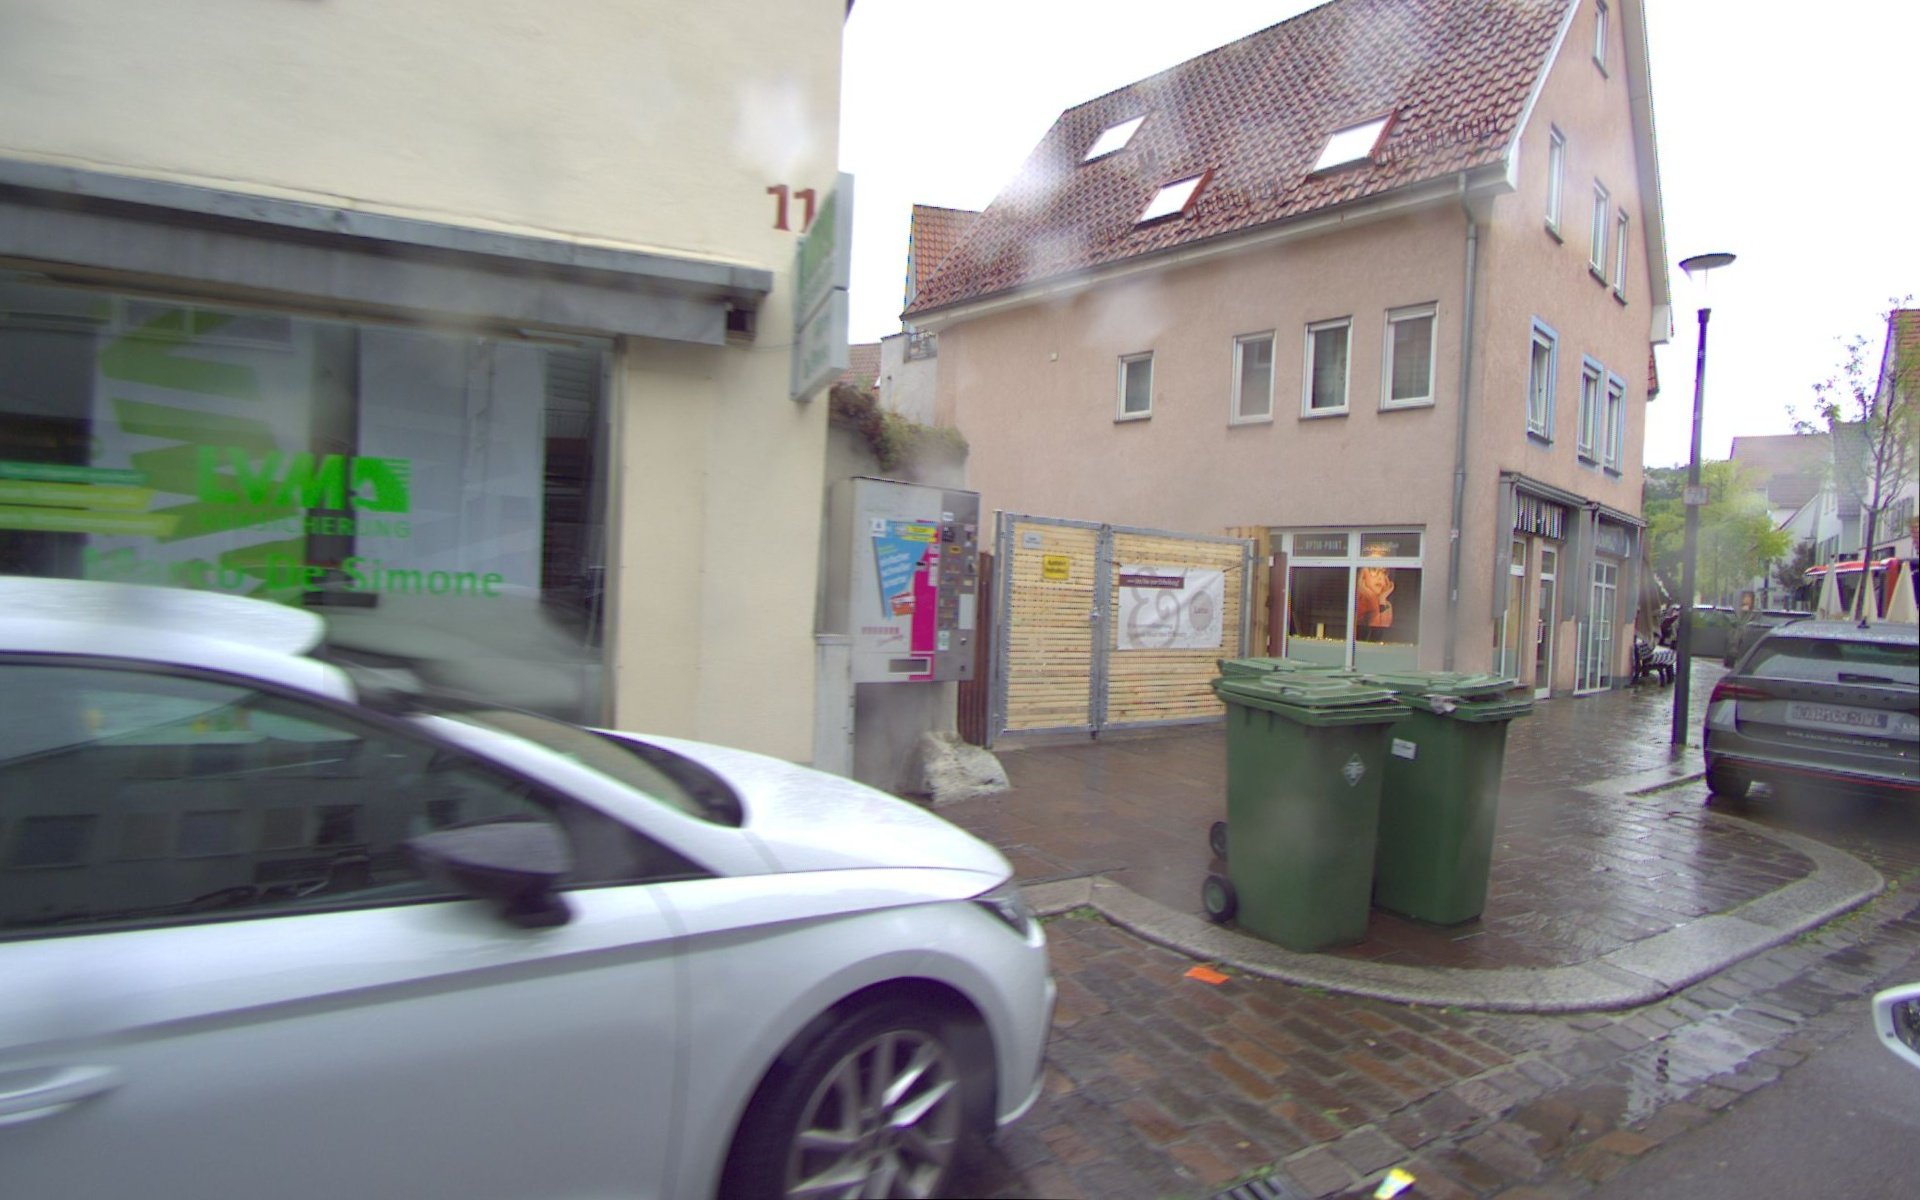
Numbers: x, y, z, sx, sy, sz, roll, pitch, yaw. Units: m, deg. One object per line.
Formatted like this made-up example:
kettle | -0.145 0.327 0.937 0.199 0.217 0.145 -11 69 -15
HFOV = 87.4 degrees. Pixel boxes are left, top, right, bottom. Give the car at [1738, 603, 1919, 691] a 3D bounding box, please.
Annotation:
car | 18.058 0.883 21.020 1.773 1.452 4.622 4 3 26

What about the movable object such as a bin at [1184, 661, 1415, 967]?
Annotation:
movable object such as a bin | 1.422 0.846 4.266 0.540 1.101 0.688 2 2 -32

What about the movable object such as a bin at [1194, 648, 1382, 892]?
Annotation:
movable object such as a bin | 1.691 0.829 5.210 0.617 1.124 0.655 2 0 -32

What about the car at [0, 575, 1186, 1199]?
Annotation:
car | -1.474 0.682 2.082 3.778 1.442 1.679 1 0 -35

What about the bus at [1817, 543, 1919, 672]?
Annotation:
bus | 26.493 0.283 28.098 2.602 3.270 6.590 2 0 30

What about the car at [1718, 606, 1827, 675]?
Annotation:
car | 20.426 0.990 25.390 1.570 1.566 3.968 2 0 31

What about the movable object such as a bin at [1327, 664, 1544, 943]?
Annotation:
movable object such as a bin | 2.187 0.880 4.645 0.617 1.124 0.655 2 0 -32

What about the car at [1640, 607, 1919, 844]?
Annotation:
car | 7.412 0.875 8.235 4.340 1.474 1.976 2 0 -41
